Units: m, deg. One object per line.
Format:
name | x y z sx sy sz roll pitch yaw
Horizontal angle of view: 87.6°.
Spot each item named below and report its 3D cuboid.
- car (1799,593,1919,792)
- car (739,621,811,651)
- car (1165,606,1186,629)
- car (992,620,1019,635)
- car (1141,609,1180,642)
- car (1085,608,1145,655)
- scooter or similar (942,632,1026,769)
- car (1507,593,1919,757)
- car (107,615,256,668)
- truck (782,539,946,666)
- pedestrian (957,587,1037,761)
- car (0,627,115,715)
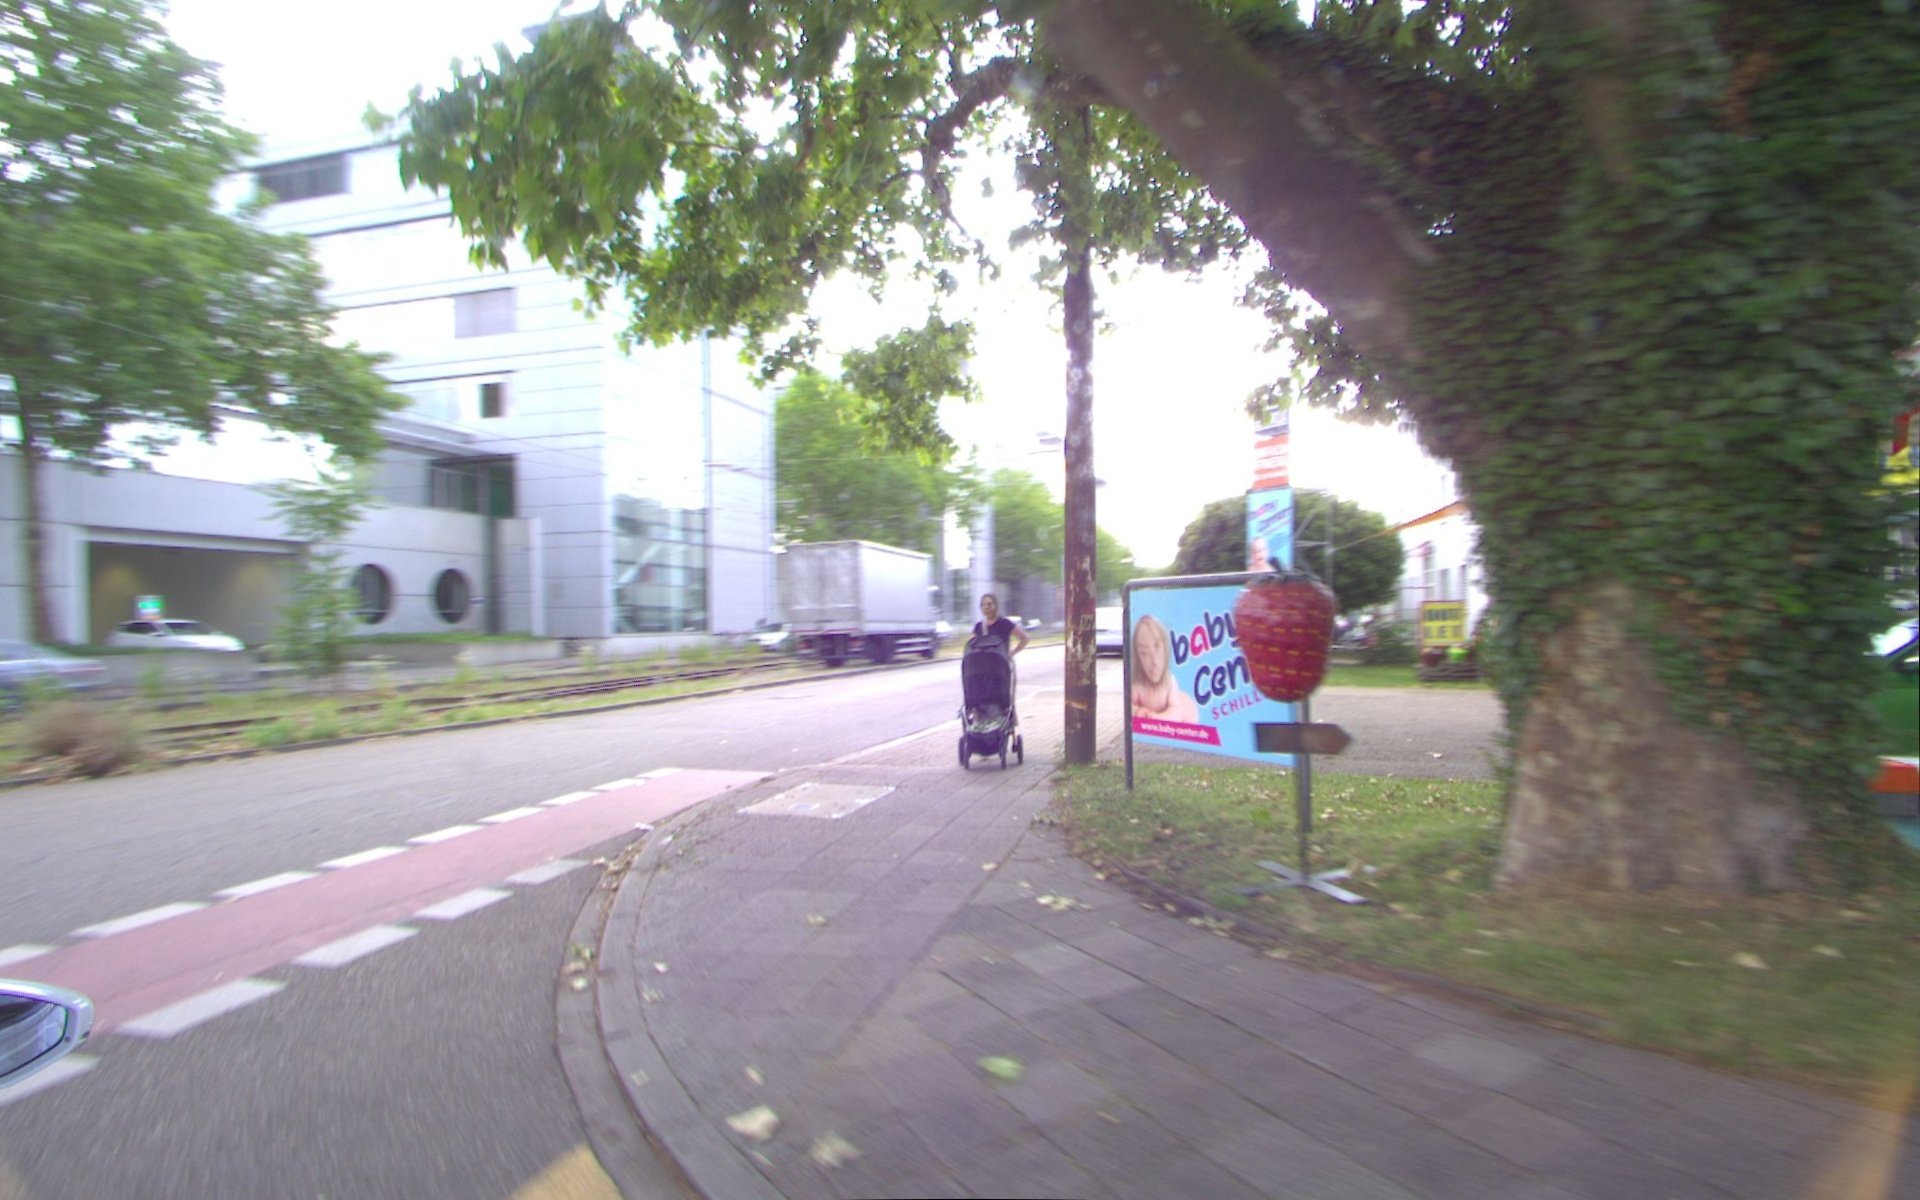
car | 9.389 0.708 7.857 3.931 1.531 1.741 -1 -1 21
car | -9.358 1.806 50.917 1.909 1.471 4.067 -1 -1 17
car | 23.395 1.920 108.616 1.640 2.432 4.610 -1 -1 18
car | 4.483 2.669 98.214 1.640 1.448 3.893 -1 -1 18
car | 10.994 1.356 54.671 1.640 1.708 3.893 -1 -1 18
car | 5.918 1.165 37.957 1.640 1.708 3.930 -1 -1 18
scooter or similar | 0.245 0.919 9.540 0.635 1.215 1.026 -1 -1 10
car | 8.353 0.749 10.838 3.925 1.589 1.744 0 -1 13
car | -24.775 1.307 31.905 3.976 1.599 1.830 -1 -1 18
truck | -3.082 0.162 35.968 2.748 3.947 9.535 -1 -1 14
pedestrian | 0.405 0.756 10.519 0.706 1.736 0.964 -1 -1 10
car | -17.216 1.210 16.426 1.741 1.450 4.963 -1 -1 17
